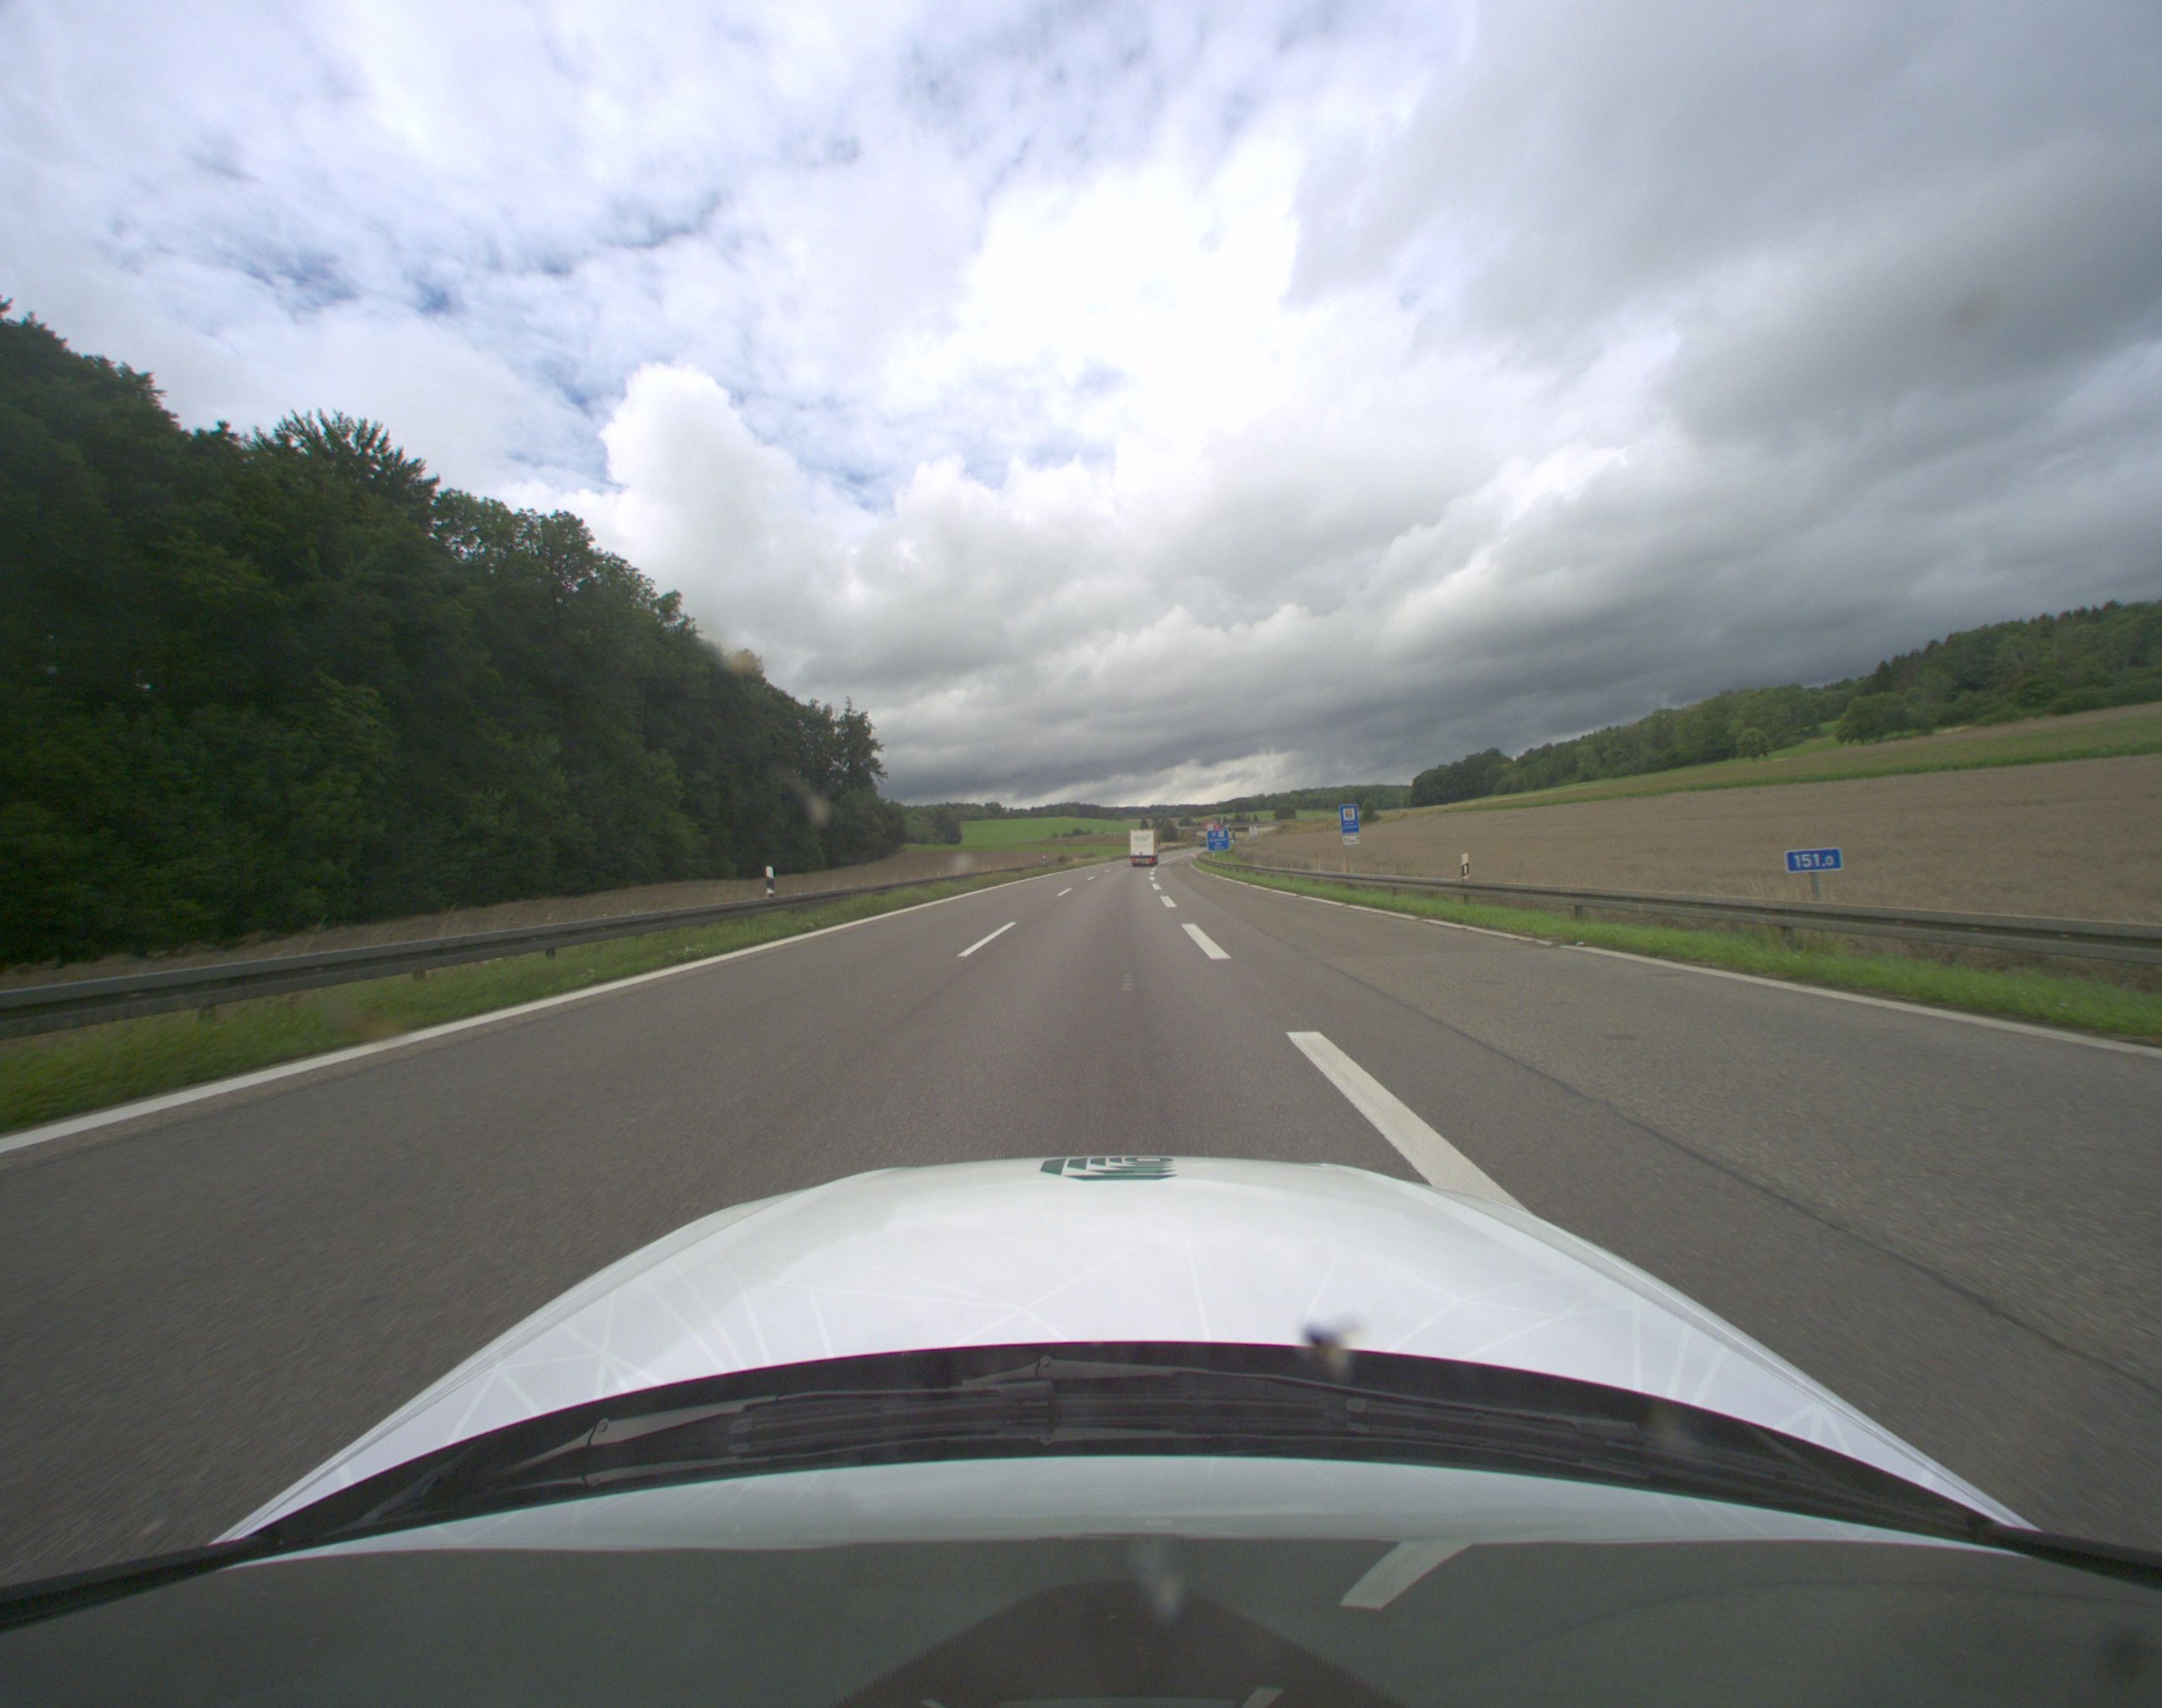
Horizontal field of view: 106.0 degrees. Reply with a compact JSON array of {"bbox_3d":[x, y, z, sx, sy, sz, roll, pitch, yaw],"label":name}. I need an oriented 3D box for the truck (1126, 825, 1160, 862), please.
[{"bbox_3d":[7.579,-1.220,98.808,3.770,4.132,8.276,-2,0,5],"label":"truck"}]

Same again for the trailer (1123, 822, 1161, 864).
[{"bbox_3d":[6.978,-1.173,92.154,3.787,4.174,14.829,-3,0,5],"label":"trailer"}]
